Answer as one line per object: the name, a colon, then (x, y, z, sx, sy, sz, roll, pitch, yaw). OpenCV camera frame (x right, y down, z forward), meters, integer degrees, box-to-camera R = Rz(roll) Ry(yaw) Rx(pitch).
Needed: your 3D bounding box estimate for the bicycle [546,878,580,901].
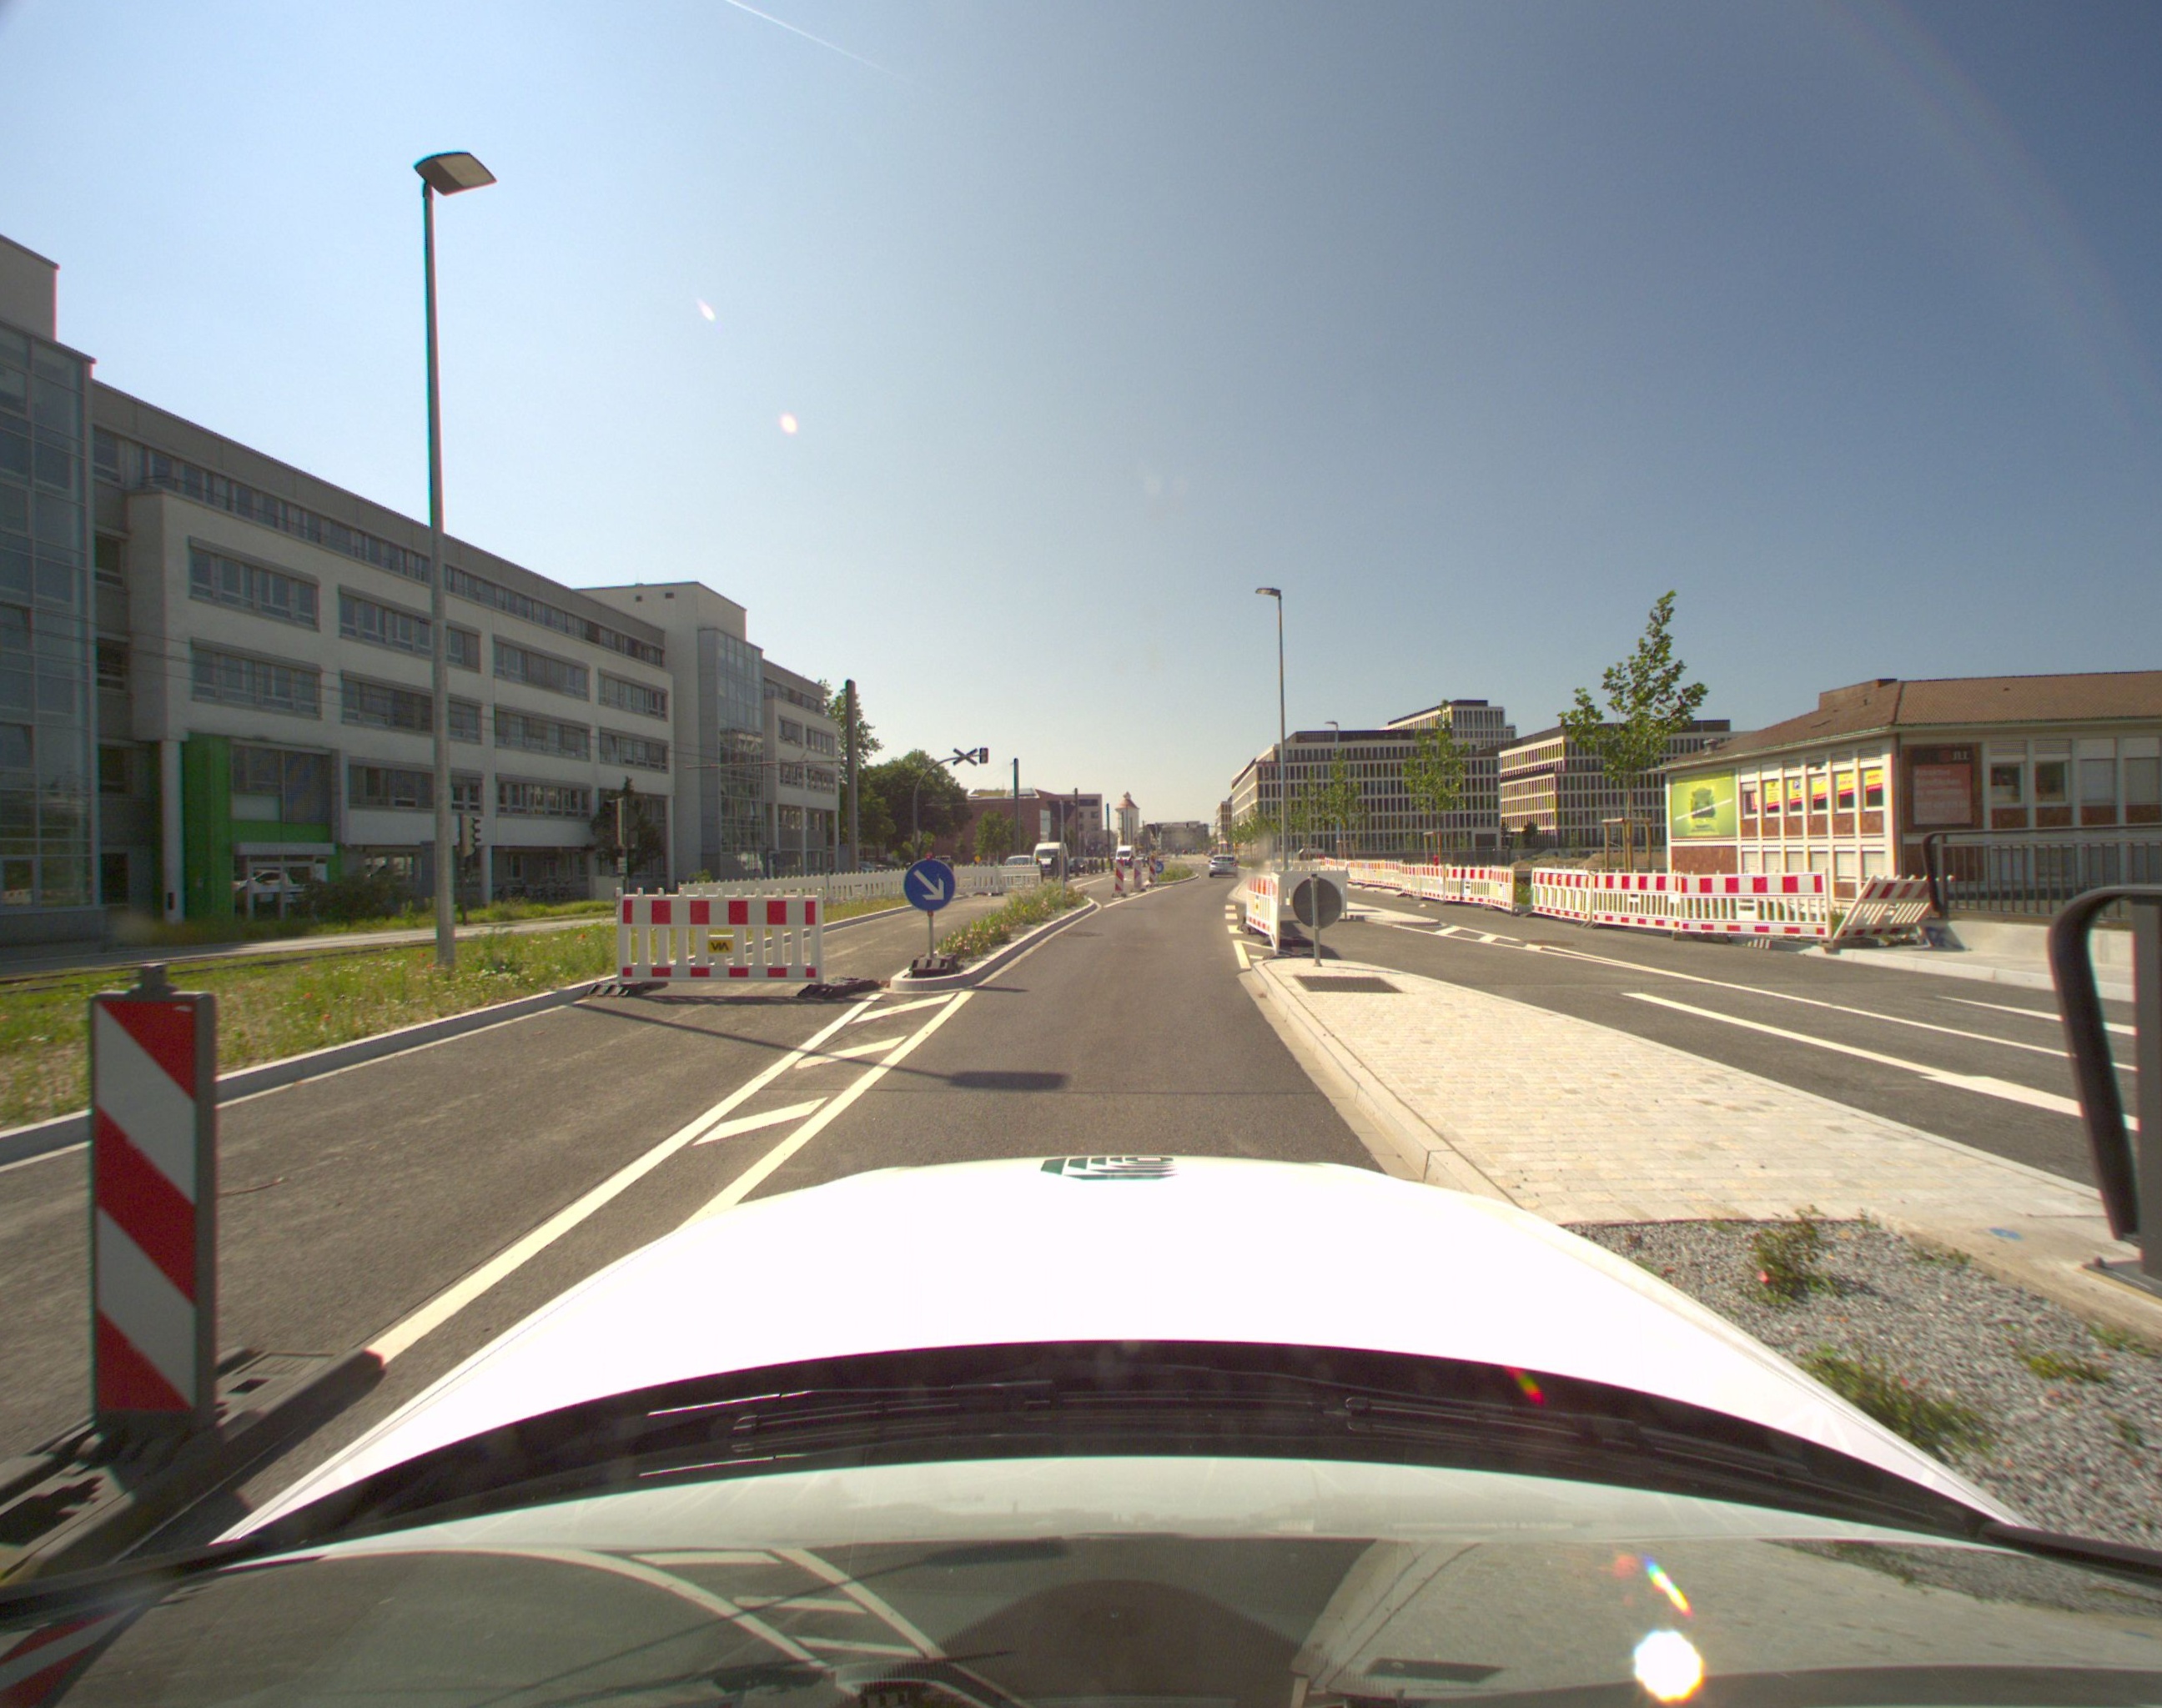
bicycle: (-27.920, 1.887, 43.879, 1.637, 1.189, 0.439, 0, 0, 8)

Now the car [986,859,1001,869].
car: (-15.698, 1.802, 145.563, 1.689, 1.761, 4.309, 0, -1, 7)

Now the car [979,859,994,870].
car: (-16.162, 1.820, 139.559, 1.689, 1.761, 3.948, 0, -1, 7)

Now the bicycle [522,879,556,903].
bicycle: (-28.116, 1.901, 42.247, 1.635, 1.189, 0.440, 1, 0, 12)

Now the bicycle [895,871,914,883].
bicycle: (-15.524, 2.038, 71.669, 0.750, 1.018, 2.837, -1, -1, 8)

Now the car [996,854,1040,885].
car: (-3.453, 0.815, 45.341, 1.572, 1.541, 3.986, -4, 0, 7)

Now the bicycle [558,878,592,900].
bicycle: (-27.718, 1.915, 44.620, 1.638, 1.189, 0.439, 0, 0, 7)

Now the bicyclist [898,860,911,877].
bicyclist: (-15.530, 1.269, 71.604, 0.750, 1.539, 1.079, -1, -1, 8)

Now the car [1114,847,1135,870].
car: (5.530, 0.507, 102.469, 2.065, 2.740, 6.000, -3, 0, 8)

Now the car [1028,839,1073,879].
car: (-2.112, 0.360, 58.396, 2.019, 2.578, 6.209, -4, -1, 8)

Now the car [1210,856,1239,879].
car: (9.146, 0.843, 52.197, 1.761, 1.395, 3.540, 0, -1, 9)

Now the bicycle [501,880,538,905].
bicycle: (-28.261, 1.912, 40.983, 1.635, 1.189, 0.523, 1, 0, 12)

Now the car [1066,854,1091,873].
car: (-0.196, 0.804, 71.439, 1.537, 1.457, 4.201, -3, 0, 7)

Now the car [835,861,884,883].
car: (-23.315, 1.859, 85.539, 5.010, 2.179, 2.127, -1, 0, 34)

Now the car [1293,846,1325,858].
car: (45.312, -0.486, 162.112, 5.806, 2.270, 2.151, 1, 1, 7)
